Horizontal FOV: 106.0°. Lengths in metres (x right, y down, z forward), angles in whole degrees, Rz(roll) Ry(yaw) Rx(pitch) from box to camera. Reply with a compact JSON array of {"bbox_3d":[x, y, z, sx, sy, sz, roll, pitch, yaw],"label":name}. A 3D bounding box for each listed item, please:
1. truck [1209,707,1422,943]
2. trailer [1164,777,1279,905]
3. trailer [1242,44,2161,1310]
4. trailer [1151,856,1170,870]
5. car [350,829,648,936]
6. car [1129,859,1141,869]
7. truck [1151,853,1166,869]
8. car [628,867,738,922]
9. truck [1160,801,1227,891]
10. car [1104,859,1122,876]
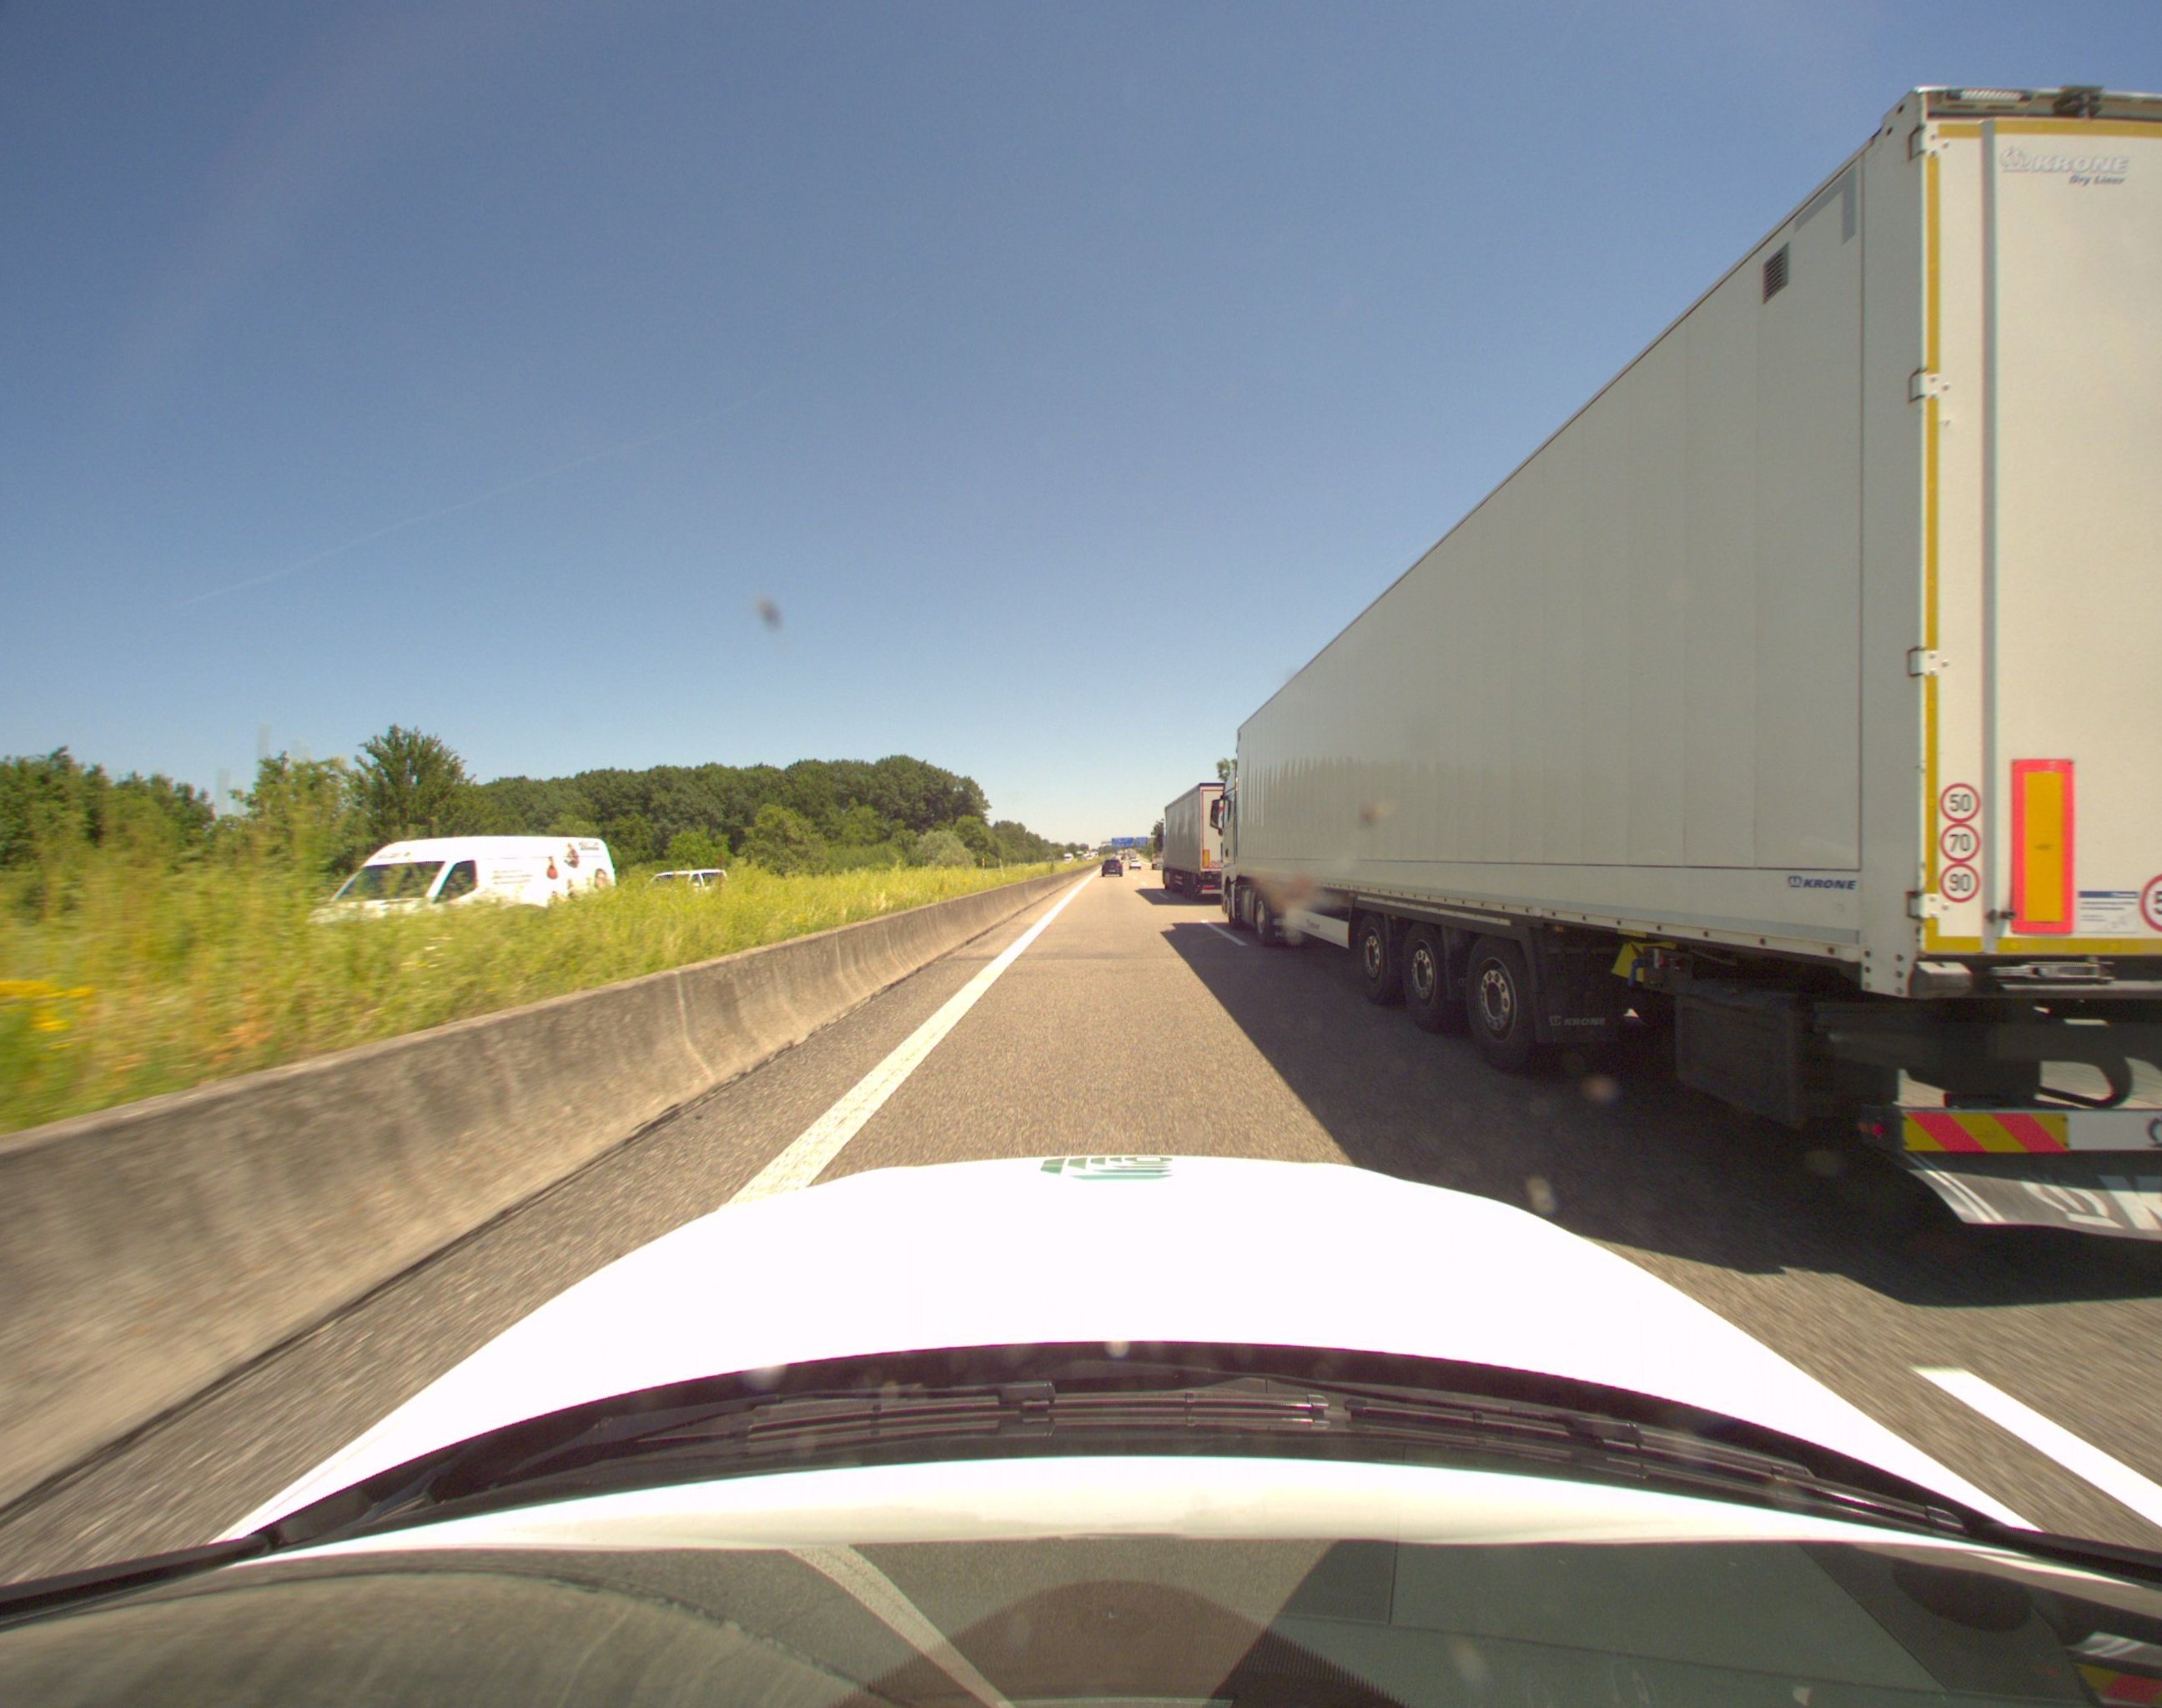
[{"bbox_3d":[4.496,-0.482,16.974,2.790,4.007,6.022,-1,0,1],"label":"truck"},{"bbox_3d":[5.235,-0.371,33.427,2.697,4.068,14.752,-1,0,2],"label":"trailer"},{"bbox_3d":[4.269,-0.556,8.870,2.784,4.035,12.570,-1,0,1],"label":"trailer"},{"bbox_3d":[12.073,1.269,123.292,2.412,2.013,6.035,-1,0,1],"label":"trailer"},{"bbox_3d":[-12.838,0.557,18.804,1.986,2.014,6.558,1,0,2],"label":"car"},{"bbox_3d":[8.688,1.624,130.691,1.733,1.486,4.002,-1,0,2],"label":"car"},{"bbox_3d":[12.184,1.075,128.642,1.986,2.374,4.646,-1,0,1],"label":"truck"},{"bbox_3d":[-16.157,1.575,33.393,1.875,2.014,5.077,-1,0,2],"label":"car"},{"bbox_3d":[5.492,-0.342,40.767,2.690,4.094,6.456,-1,-1,2],"label":"truck"},{"bbox_3d":[3.023,1.249,77.495,1.654,1.549,3.784,-1,0,1],"label":"car"}]
